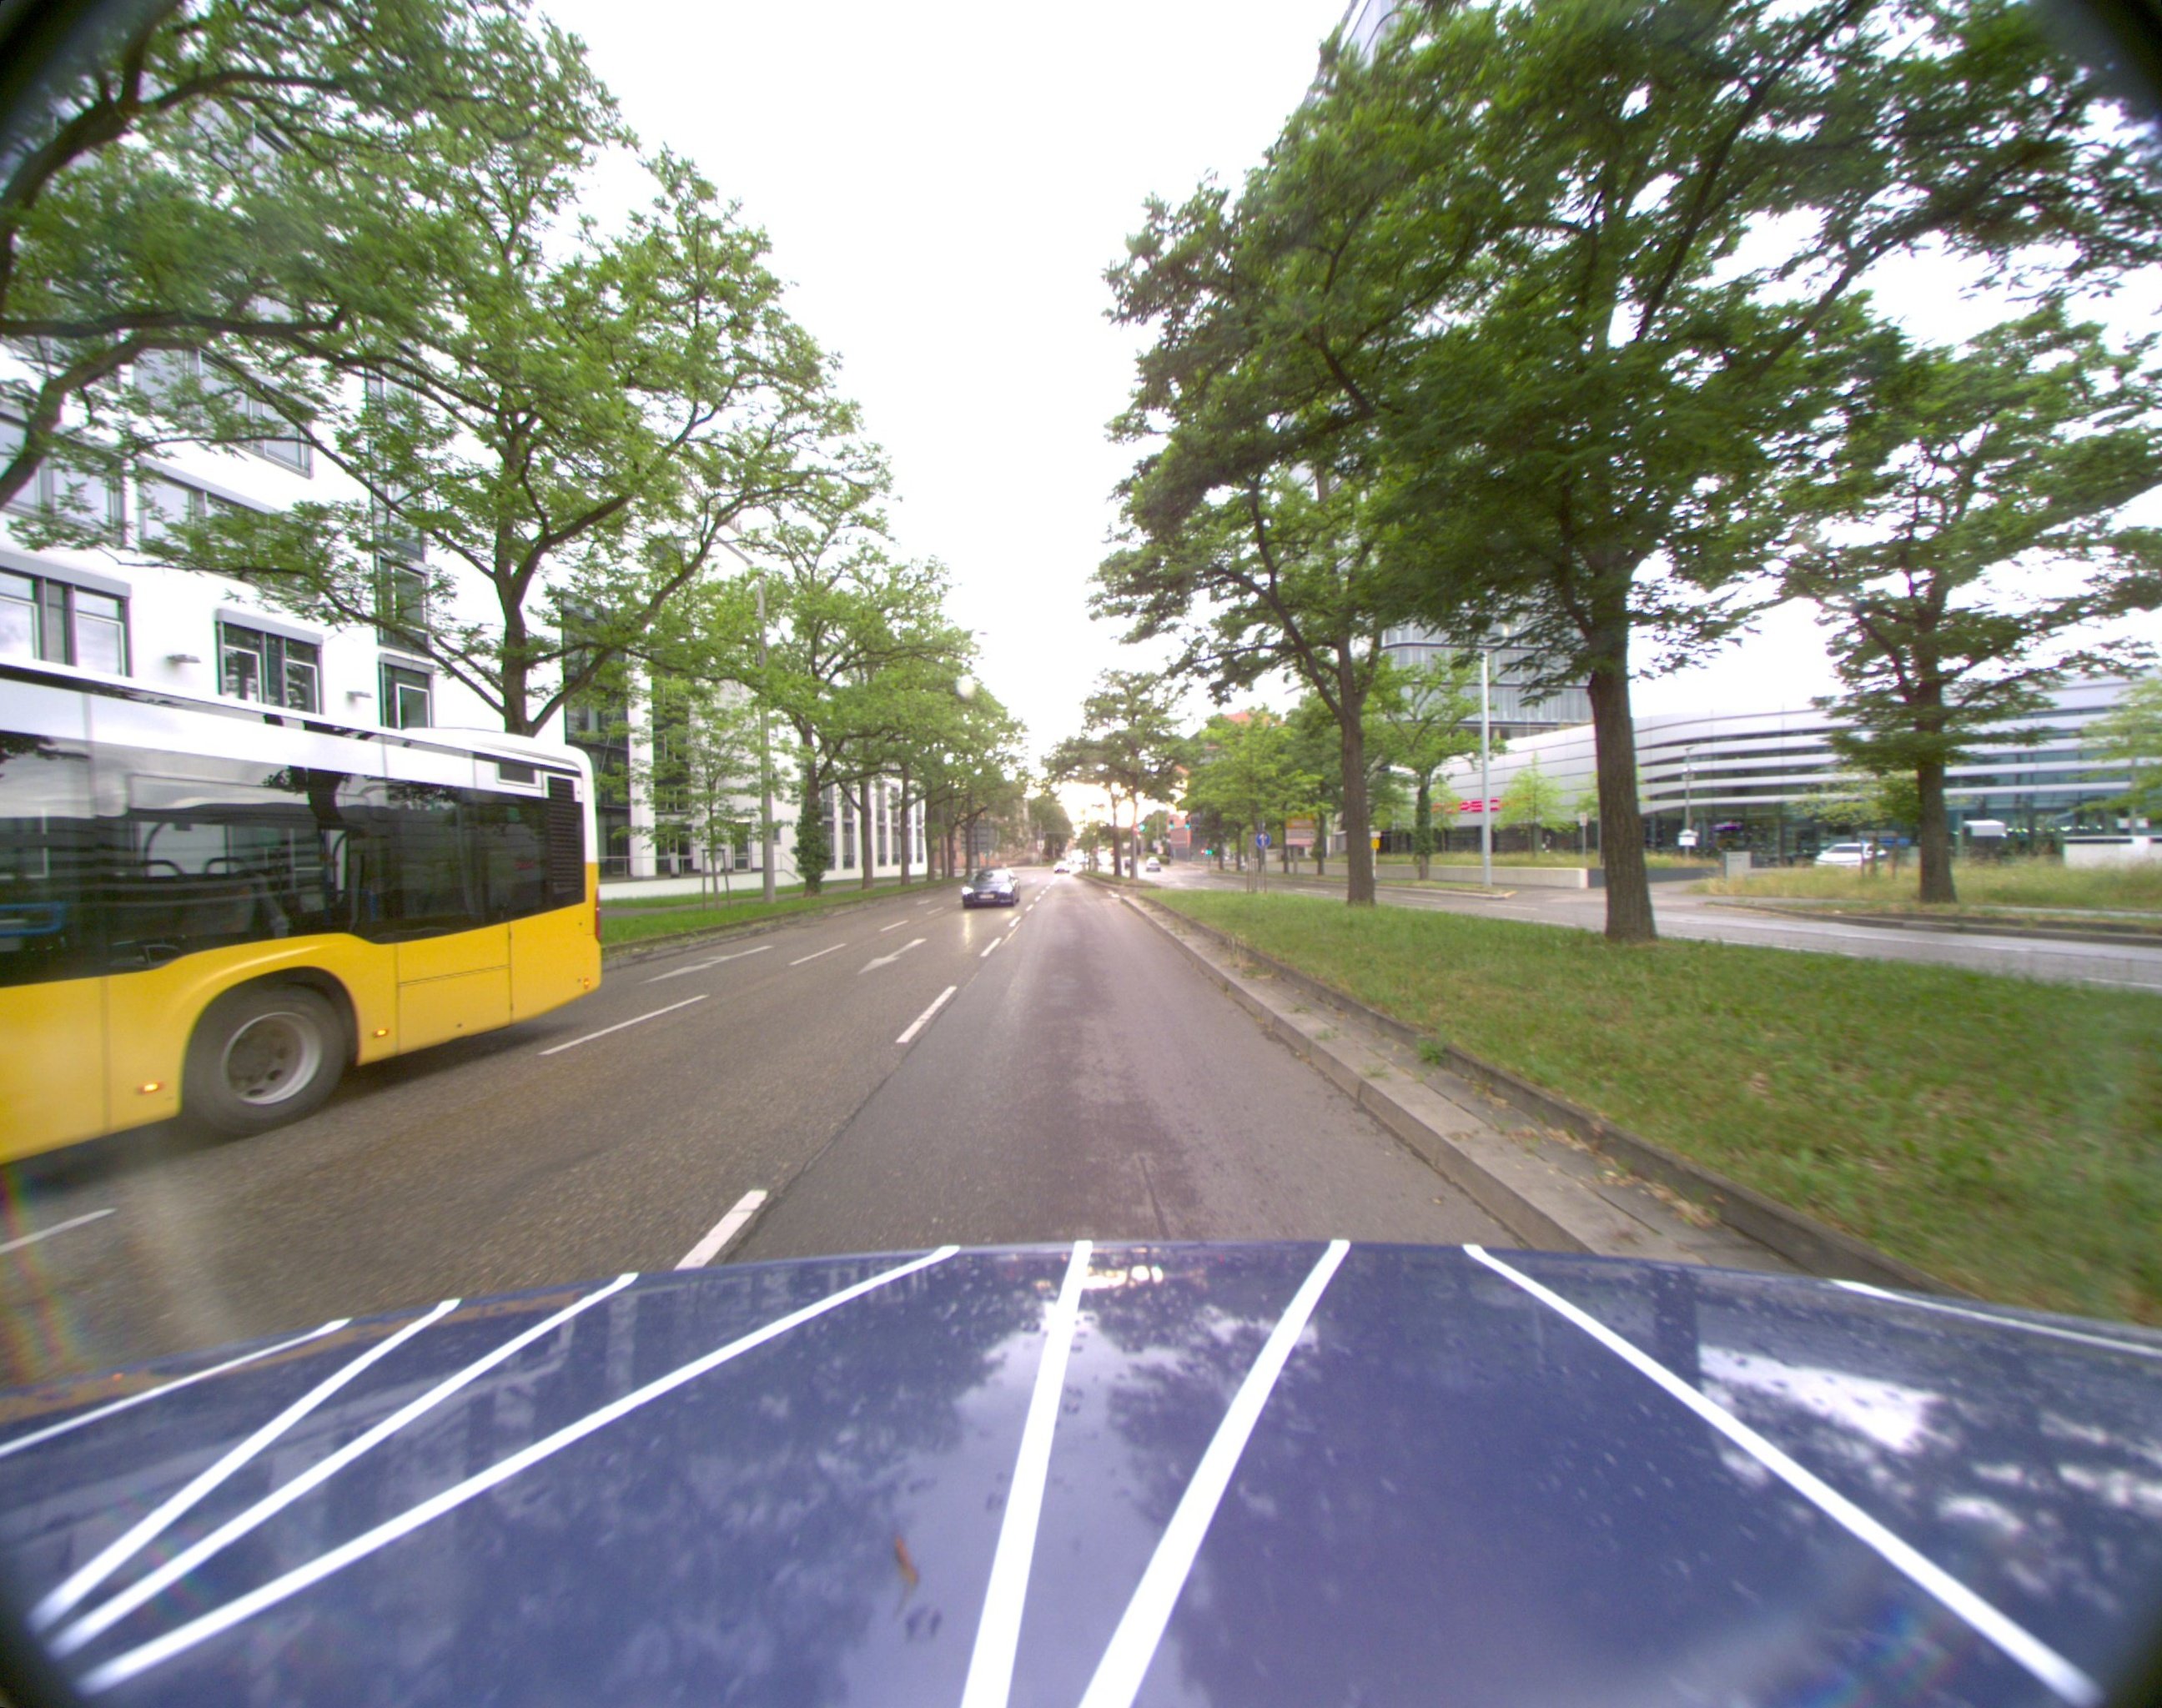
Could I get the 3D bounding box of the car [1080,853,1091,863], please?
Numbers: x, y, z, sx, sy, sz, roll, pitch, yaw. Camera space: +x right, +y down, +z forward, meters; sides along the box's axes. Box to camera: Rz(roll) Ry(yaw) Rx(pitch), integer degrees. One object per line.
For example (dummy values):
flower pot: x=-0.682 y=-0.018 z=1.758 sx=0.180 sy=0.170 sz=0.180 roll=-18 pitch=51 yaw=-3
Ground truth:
car: x=0.892 y=0.772 z=140.868 sx=1.998 sy=1.707 sz=4.000 roll=-1 pitch=0 yaw=1

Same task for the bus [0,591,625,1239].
bus: x=-6.616 y=0.342 z=2.411 sx=2.734 sy=3.133 sz=12.146 roll=-3 pitch=0 yaw=1

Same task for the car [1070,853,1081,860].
car: x=-1.126 y=0.539 z=159.270 sx=1.998 sy=1.576 sz=4.000 roll=-1 pitch=0 yaw=1

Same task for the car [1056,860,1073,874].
car: x=-1.995 y=1.547 z=92.003 sx=1.625 sy=1.426 sz=3.551 roll=-3 pitch=1 yaw=3

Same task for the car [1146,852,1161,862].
car: x=11.114 y=0.434 z=116.522 sx=1.783 sy=1.445 sz=3.998 roll=-3 pitch=1 yaw=-2

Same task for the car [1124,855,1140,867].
car: x=7.386 y=0.998 z=109.795 sx=1.846 sy=1.581 sz=4.172 roll=-1 pitch=1 yaw=-2

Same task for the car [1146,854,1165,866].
car: x=9.717 y=0.736 z=99.453 sx=1.894 sy=1.445 sz=3.998 roll=-3 pitch=1 yaw=-2

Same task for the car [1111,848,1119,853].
car: x=10.051 y=-1.073 z=223.705 sx=1.783 sy=1.445 sz=3.998 roll=-3 pitch=1 yaw=-2

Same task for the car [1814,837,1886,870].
car: x=39.165 y=-0.044 z=38.669 sx=4.006 sy=1.405 sz=1.774 roll=-4 pitch=1 yaw=-33

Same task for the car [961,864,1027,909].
car: x=-3.156 y=1.144 z=28.371 sx=1.878 sy=1.346 sz=4.331 roll=-3 pitch=1 yaw=1

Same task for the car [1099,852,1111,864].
car: x=4.066 y=0.713 z=130.482 sx=1.998 sy=2.002 sz=4.000 roll=-1 pitch=0 yaw=1
